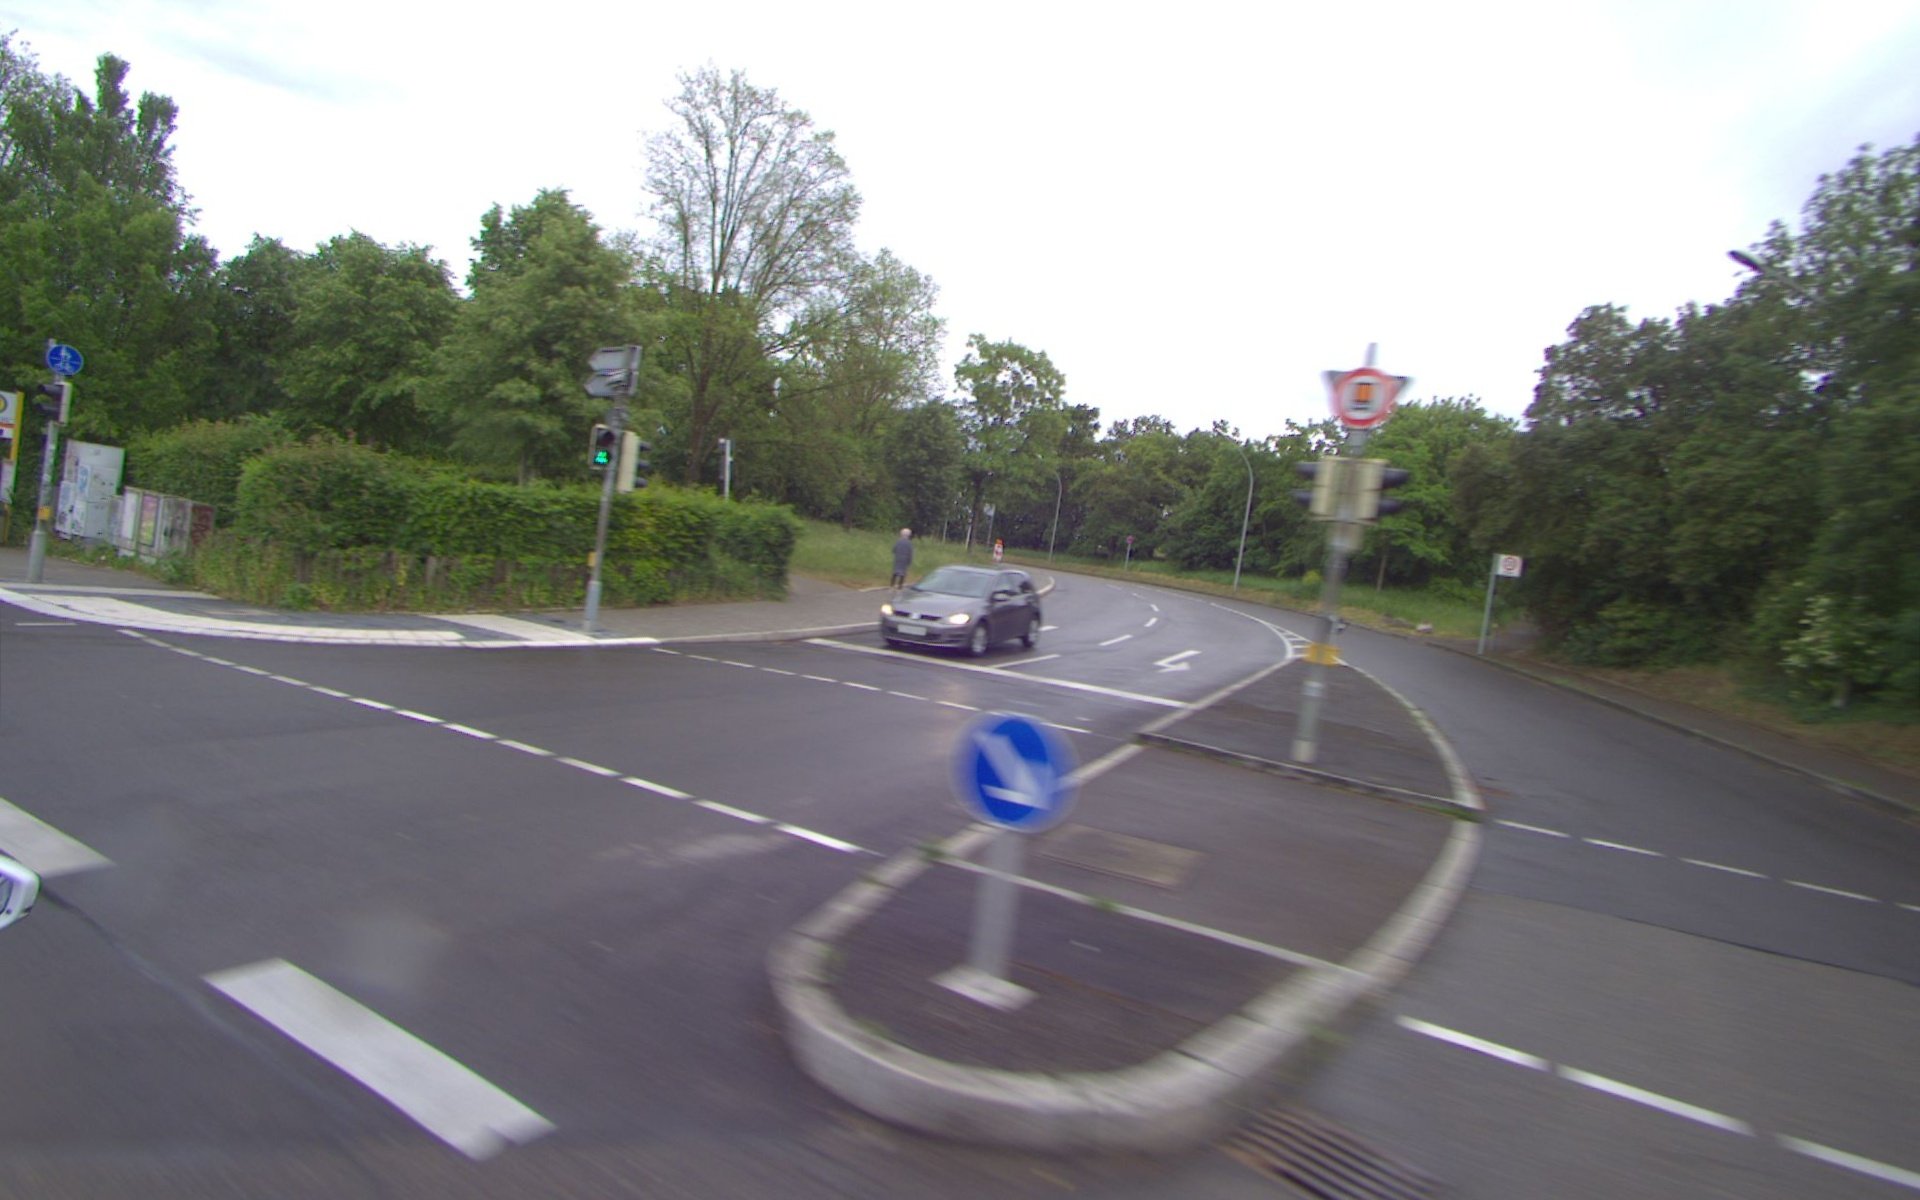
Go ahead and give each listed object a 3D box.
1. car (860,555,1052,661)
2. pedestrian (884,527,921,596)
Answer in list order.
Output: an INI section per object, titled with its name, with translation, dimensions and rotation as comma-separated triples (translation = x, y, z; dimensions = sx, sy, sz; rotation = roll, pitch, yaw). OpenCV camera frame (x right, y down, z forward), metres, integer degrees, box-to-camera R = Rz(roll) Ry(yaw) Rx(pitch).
[car]
translation = 0.063, 0.027, 17.971
dimensions = 1.856, 1.475, 4.075
rotation = 7, 6, 23
[pedestrian]
translation = -1.401, -0.930, 24.486
dimensions = 0.678, 1.604, 0.473
rotation = 7, 2, -1
